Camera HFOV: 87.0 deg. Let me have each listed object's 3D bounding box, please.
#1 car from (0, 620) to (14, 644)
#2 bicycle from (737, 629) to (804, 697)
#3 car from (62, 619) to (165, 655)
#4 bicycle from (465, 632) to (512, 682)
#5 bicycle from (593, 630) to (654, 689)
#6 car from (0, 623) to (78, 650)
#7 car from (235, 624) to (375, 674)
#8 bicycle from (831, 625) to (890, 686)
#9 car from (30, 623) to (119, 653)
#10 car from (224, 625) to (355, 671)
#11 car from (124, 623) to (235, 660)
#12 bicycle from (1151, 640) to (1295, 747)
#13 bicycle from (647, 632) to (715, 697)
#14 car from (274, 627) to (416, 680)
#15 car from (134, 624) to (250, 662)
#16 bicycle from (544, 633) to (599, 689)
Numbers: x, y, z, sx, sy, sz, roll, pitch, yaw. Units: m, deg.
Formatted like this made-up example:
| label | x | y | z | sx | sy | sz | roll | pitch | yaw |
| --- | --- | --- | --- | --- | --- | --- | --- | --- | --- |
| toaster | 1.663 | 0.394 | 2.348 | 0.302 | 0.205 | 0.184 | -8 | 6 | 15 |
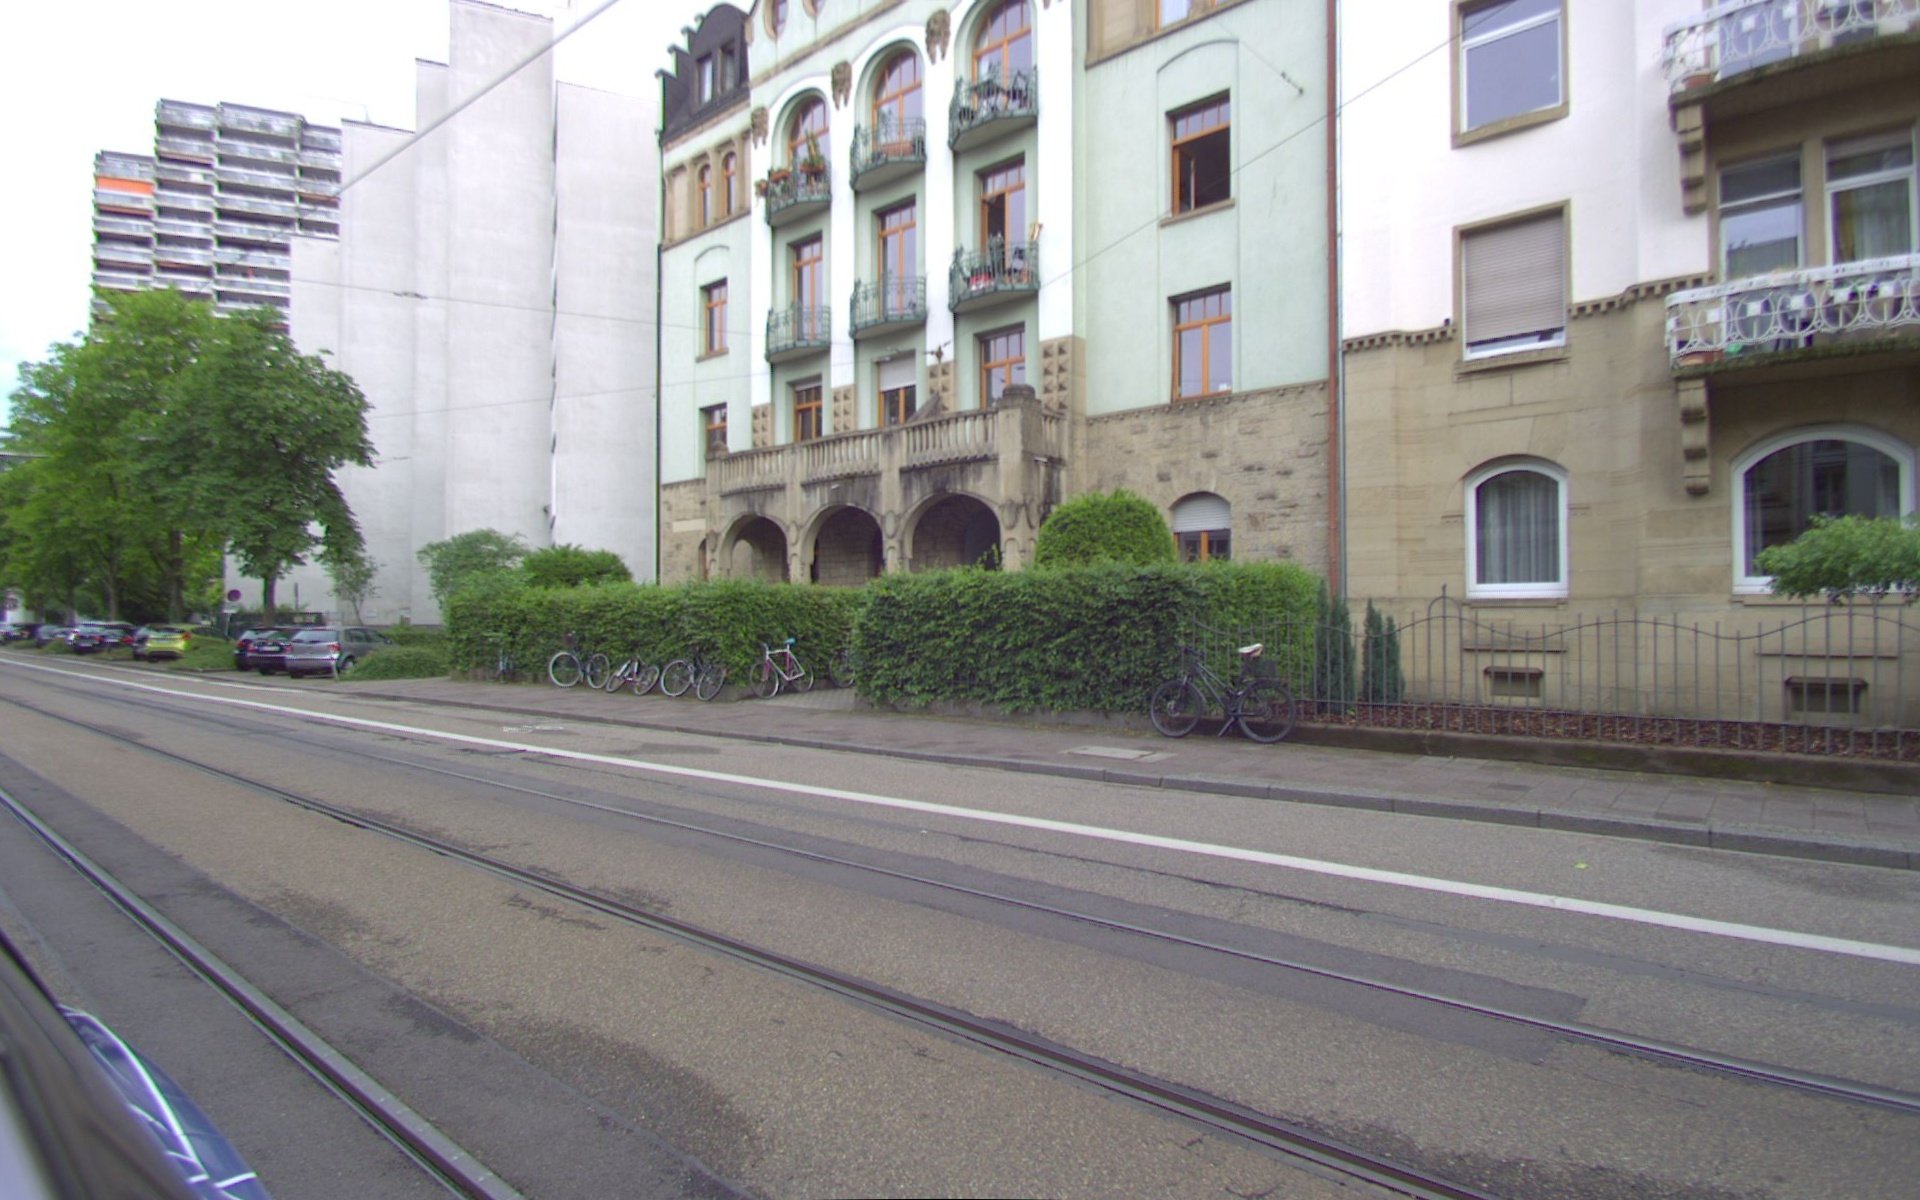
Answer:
| label | x | y | z | sx | sy | sz | roll | pitch | yaw |
| --- | --- | --- | --- | --- | --- | --- | --- | --- | --- |
| car | -65.931 | 2.187 | 68.943 | 3.996 | 1.632 | 1.673 | -1 | -2 | 39 |
| bicycle | -3.308 | 1.091 | 17.735 | 0.300 | 1.091 | 1.190 | -1 | 1 | 42 |
| car | -39.897 | 1.719 | 47.824 | 1.670 | 1.632 | 4.002 | 0 | -1 | -3 |
| bicycle | -10.649 | 1.261 | 22.850 | 1.545 | 1.092 | 0.356 | -1 | -2 | 41 |
| bicycle | -6.397 | 1.109 | 19.181 | 1.545 | 1.092 | 0.356 | -1 | -2 | 41 |
| car | -57.437 | 2.252 | 63.052 | 1.670 | 1.632 | 4.002 | 0 | -1 | -3 |
| car | -19.938 | 1.449 | 31.010 | 1.672 | 1.413 | 3.999 | 0 | -1 | 1 |
| bicycle | -1.899 | 1.049 | 19.411 | 0.300 | 1.091 | 1.190 | -1 | 1 | 42 |
| car | -49.740 | 2.104 | 56.939 | 1.670 | 1.632 | 4.002 | 0 | -1 | -3 |
| car | -22.023 | 1.544 | 33.444 | 1.672 | 1.413 | 3.999 | 0 | -1 | 1 |
| car | -32.187 | 1.680 | 41.890 | 1.670 | 1.453 | 4.002 | 0 | -1 | -3 |
| bicycle | 2.889 | 1.004 | 11.231 | 1.545 | 1.092 | 0.356 | -1 | -2 | 41 |
| bicycle | -4.939 | 1.120 | 17.859 | 1.545 | 1.092 | 0.356 | -1 | -2 | 41 |
| car | -17.673 | 1.492 | 29.302 | 1.672 | 1.413 | 3.999 | 0 | -1 | 1 |
| car | -30.021 | 1.661 | 39.729 | 1.670 | 1.405 | 4.002 | 0 | -1 | -3 |
| bicycle | -7.917 | 1.219 | 20.602 | 1.545 | 1.092 | 0.356 | -1 | -2 | 41 |
